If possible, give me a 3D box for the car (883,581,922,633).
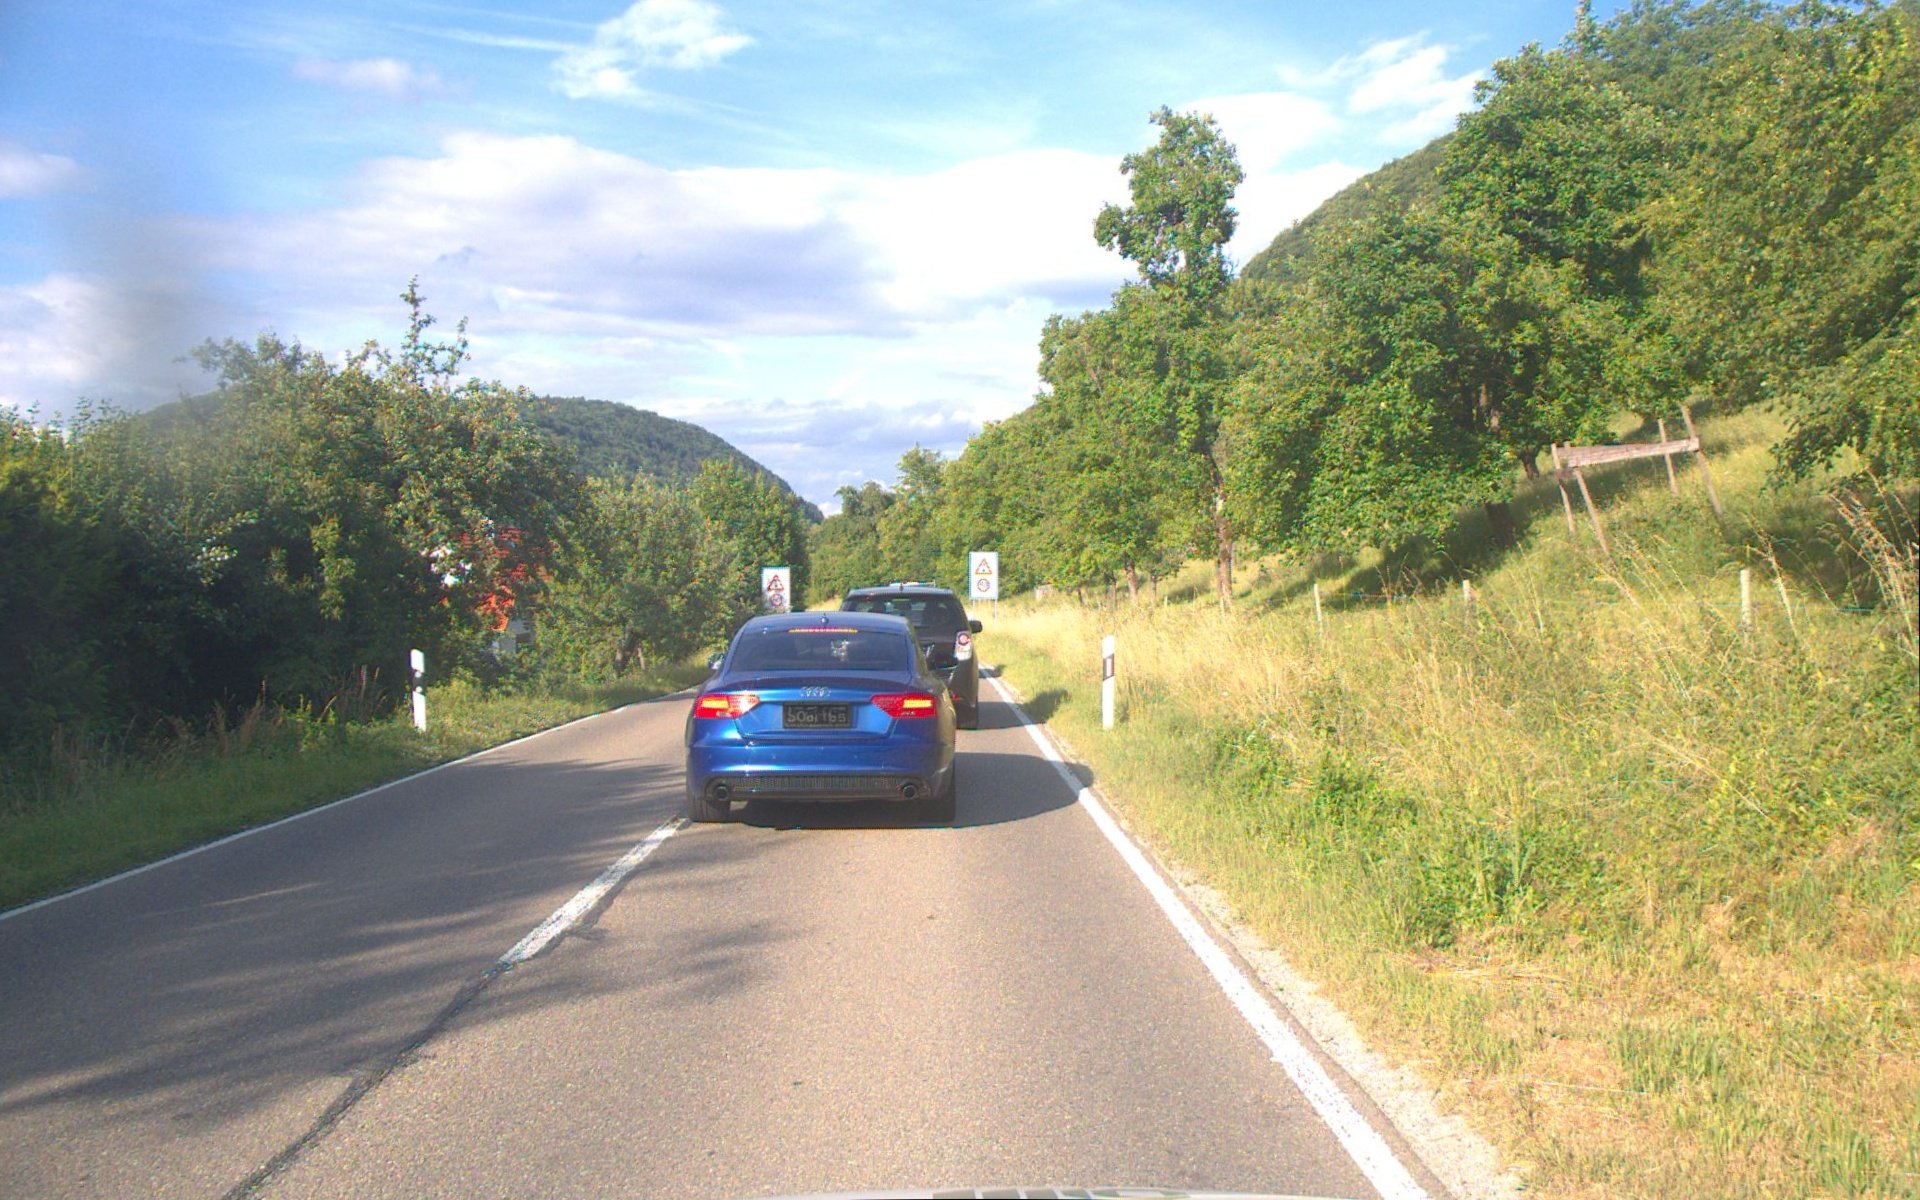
[{"bbox_3d":[-2.919,0.338,83.330,1.757,2.496,3.916,1,0,-4],"label":"car"}]

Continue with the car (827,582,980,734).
[{"bbox_3d":[-0.670,0.624,19.929,1.658,1.652,3.788,0,0,-2],"label":"car"}]

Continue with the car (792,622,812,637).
[{"bbox_3d":[-16.568,3.104,173.366,1.532,1.522,3.765,1,0,-14],"label":"car"}]

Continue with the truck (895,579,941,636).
[{"bbox_3d":[-1.904,0.314,73.216,1.911,2.386,5.091,1,0,-2],"label":"truck"}]

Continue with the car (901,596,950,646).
[{"bbox_3d":[-1.207,0.698,57.507,1.658,1.652,3.788,0,0,-2],"label":"car"}]

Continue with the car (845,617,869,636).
[{"bbox_3d":[-8.521,2.186,136.355,1.530,1.522,3.769,1,0,-10],"label":"car"}]

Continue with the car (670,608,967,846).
[{"bbox_3d":[-0.886,0.768,12.028,1.769,1.406,4.213,0,0,-1],"label":"car"}]
